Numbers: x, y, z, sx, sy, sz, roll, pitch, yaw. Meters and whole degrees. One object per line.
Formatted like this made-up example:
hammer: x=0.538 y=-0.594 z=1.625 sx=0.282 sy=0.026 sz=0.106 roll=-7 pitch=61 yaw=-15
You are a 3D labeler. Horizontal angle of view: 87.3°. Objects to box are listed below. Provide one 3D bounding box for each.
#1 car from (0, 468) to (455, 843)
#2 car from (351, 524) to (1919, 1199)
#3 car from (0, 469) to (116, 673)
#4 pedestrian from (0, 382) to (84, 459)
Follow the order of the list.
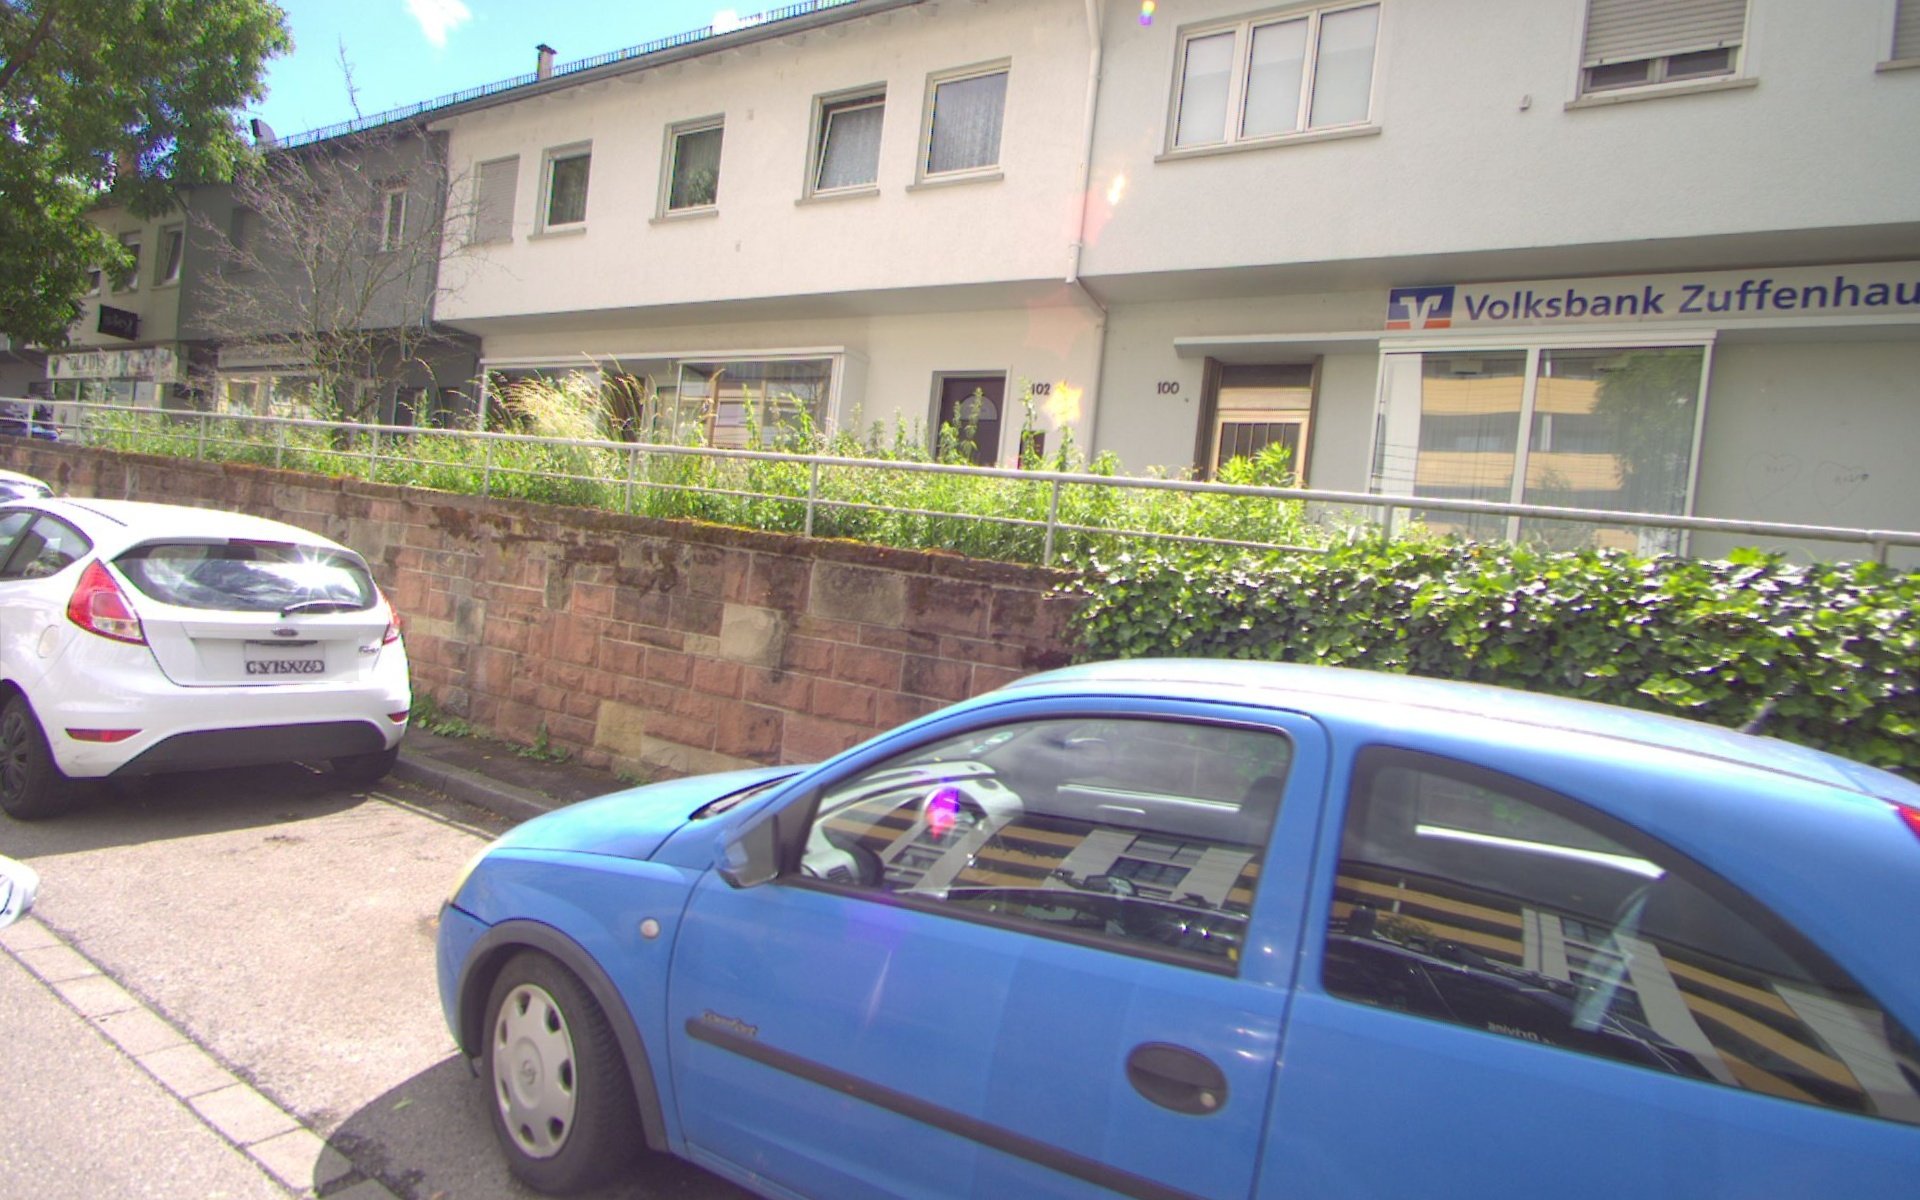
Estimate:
car: x=-4.859 y=0.103 z=5.790 sx=3.758 sy=1.508 sz=1.647 roll=7 pitch=0 yaw=31
car: x=0.404 y=0.763 z=2.465 sx=3.613 sy=1.475 sz=1.609 roll=7 pitch=2 yaw=29
car: x=-8.937 y=-0.415 z=8.511 sx=3.416 sy=1.571 sz=1.584 roll=7 pitch=0 yaw=30
pedestrian: x=-11.891 y=-2.288 z=12.872 sx=0.693 sy=0.800 sz=0.796 roll=7 pitch=0 yaw=30
